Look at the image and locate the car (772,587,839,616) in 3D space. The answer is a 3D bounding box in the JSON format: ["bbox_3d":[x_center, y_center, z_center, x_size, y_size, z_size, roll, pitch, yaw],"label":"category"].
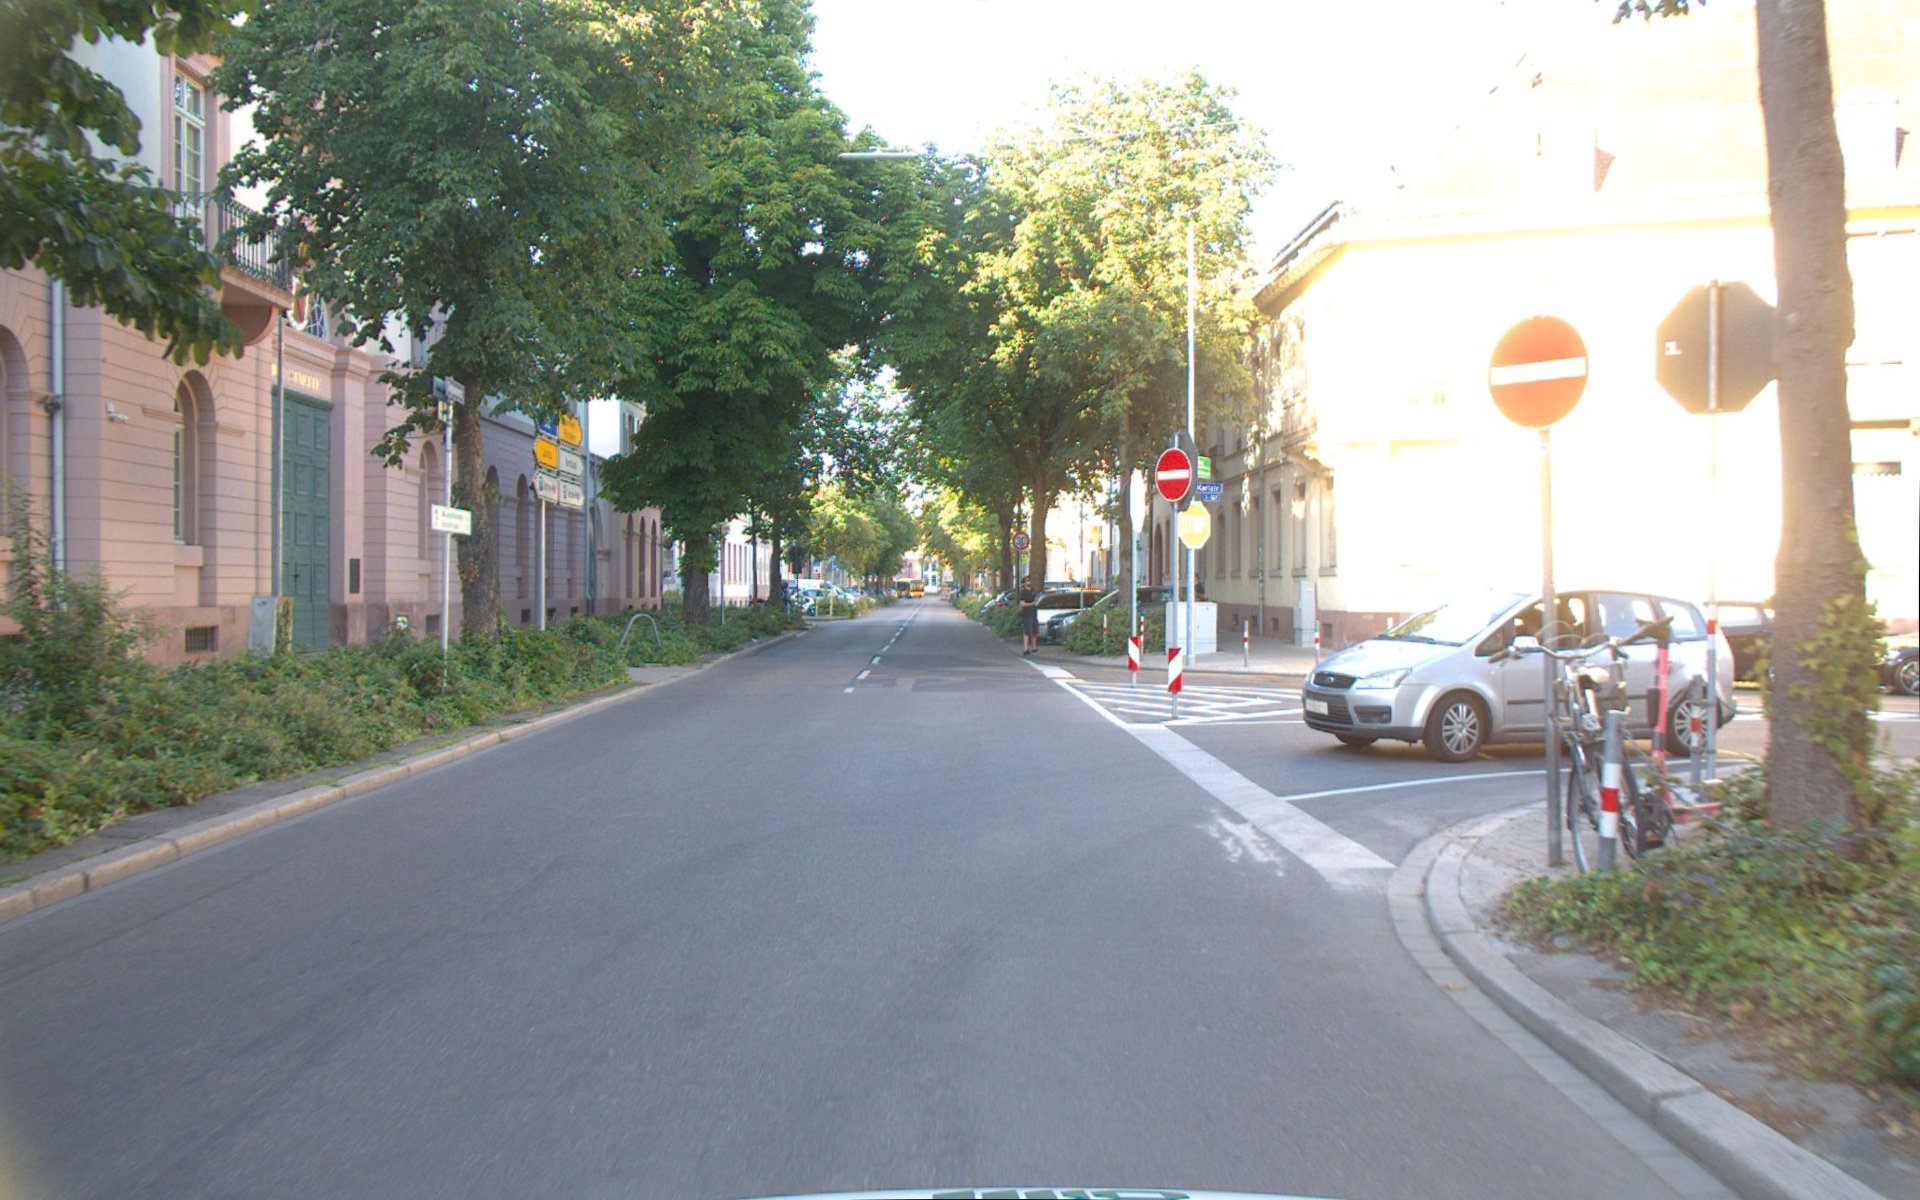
[{"bbox_3d":[-8.696,0.083,93.336,3.653,1.534,1.871,-1,1,-5],"label":"car"}]

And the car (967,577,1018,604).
[{"bbox_3d":[2.558,-0.737,128.007,3.904,2.049,2.001,0,0,2],"label":"car"}]

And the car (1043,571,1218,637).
[{"bbox_3d":[4.082,0.078,40.097,4.025,1.516,1.850,0,1,-2],"label":"car"}]

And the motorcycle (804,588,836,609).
[{"bbox_3d":[-7.121,-0.085,84.176,1.603,1.087,0.656,0,1,-1],"label":"motorcycle"}]

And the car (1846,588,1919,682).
[{"bbox_3d":[16.744,0.547,26.402,4.411,1.393,1.776,0,3,23],"label":"car"}]

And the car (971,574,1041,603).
[{"bbox_3d":[3.022,-0.759,109.130,4.499,1.792,2.222,-1,1,0],"label":"car"}]

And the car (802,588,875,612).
[{"bbox_3d":[-8.705,-0.019,118.798,4.959,1.645,2.264,-1,1,2],"label":"car"}]

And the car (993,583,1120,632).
[{"bbox_3d":[3.072,0.241,53.336,3.934,1.506,1.780,-1,1,-2],"label":"car"}]

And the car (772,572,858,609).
[{"bbox_3d":[-8.625,-0.586,98.727,4.961,2.119,2.262,-1,1,-2],"label":"car"}]

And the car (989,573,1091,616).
[{"bbox_3d":[3.162,-0.222,66.167,3.934,1.651,1.780,-1,1,-2],"label":"car"}]

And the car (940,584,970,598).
[{"bbox_3d":[-0.709,-1.273,231.173,3.902,1.870,2.002,0,1,6],"label":"car"}]

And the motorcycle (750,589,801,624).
[{"bbox_3d":[-7.096,0.246,63.568,1.880,1.280,0.590,-1,1,-1],"label":"motorcycle"}]

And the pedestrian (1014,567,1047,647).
[{"bbox_3d":[1.686,0.170,39.536,0.777,1.901,0.752,0,0,4],"label":"pedestrian"}]

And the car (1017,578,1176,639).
[{"bbox_3d":[3.672,0.213,45.057,4.107,1.506,1.852,-2,1,-1],"label":"car"}]

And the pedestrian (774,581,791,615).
[{"bbox_3d":[-7.363,-0.083,68.561,0.641,1.419,0.607,1,0,-1],"label":"pedestrian"}]

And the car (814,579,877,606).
[{"bbox_3d":[-9.316,-0.657,135.039,4.960,2.119,2.263,-1,1,0],"label":"car"}]

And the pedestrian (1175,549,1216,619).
[{"bbox_3d":[5.953,-0.412,41.888,0.923,1.736,0.782,0,2,1],"label":"pedestrian"}]

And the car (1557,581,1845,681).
[{"bbox_3d":[12.474,0.478,28.009,4.322,1.569,1.866,0,1,25],"label":"car"}]

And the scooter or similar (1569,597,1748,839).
[{"bbox_3d":[3.977,0.626,9.380,1.265,1.265,0.498,-1,1,-45],"label":"scooter or similar"}]

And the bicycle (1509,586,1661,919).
[{"bbox_3d":[2.853,0.640,7.630,0.407,1.396,1.289,-1,1,10],"label":"bicycle"}]

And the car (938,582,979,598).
[{"bbox_3d":[-0.165,-0.985,163.752,3.907,1.467,1.696,-1,1,-3],"label":"car"}]

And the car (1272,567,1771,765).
[{"bbox_3d":[5.302,0.539,15.696,4.273,1.682,1.875,0,0,-20],"label":"car"}]
